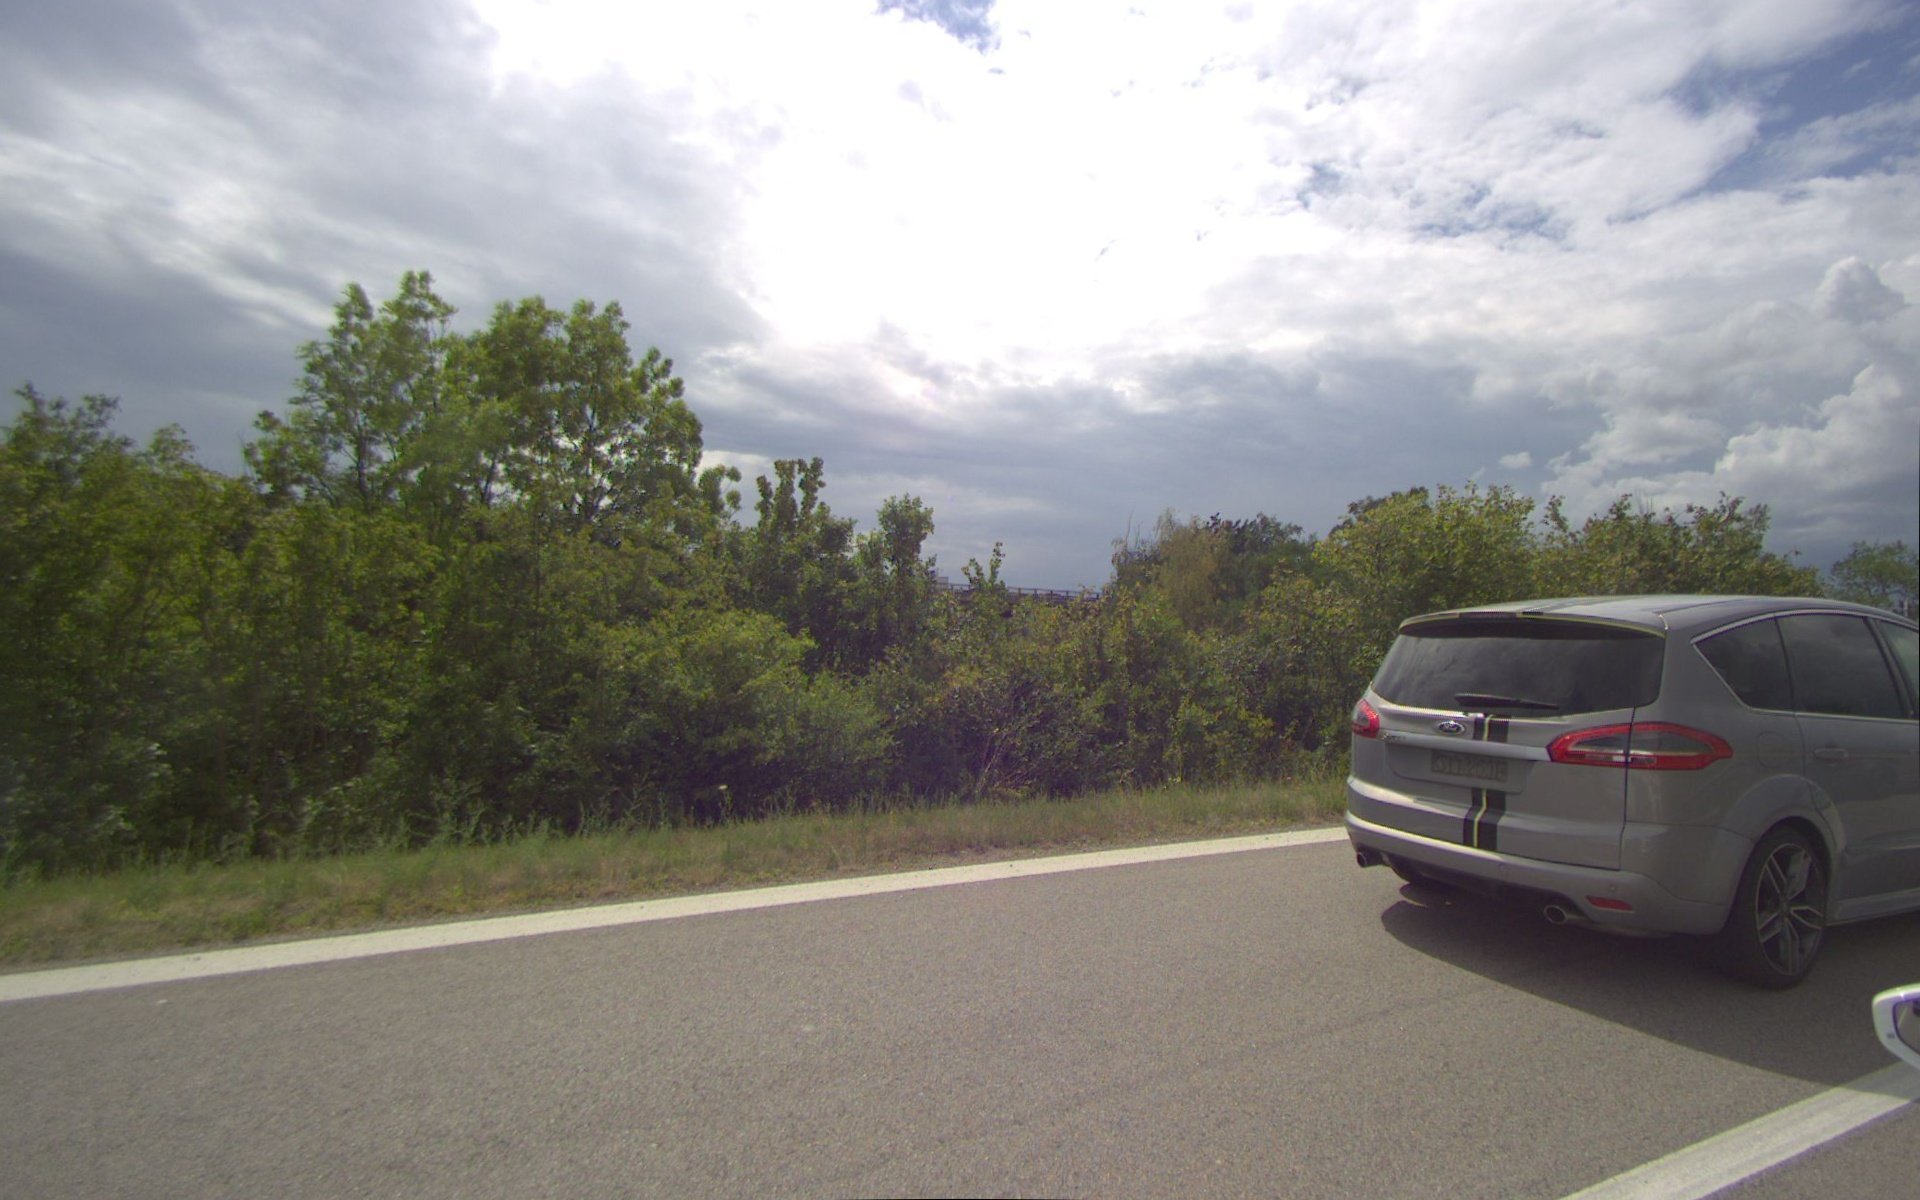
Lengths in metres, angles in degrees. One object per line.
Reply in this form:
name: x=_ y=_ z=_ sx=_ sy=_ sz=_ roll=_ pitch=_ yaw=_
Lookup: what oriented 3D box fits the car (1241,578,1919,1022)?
car: x=3.998 y=0.823 z=5.511 sx=4.524 sy=1.598 sz=2.016 roll=2 pitch=-2 yaw=-25
